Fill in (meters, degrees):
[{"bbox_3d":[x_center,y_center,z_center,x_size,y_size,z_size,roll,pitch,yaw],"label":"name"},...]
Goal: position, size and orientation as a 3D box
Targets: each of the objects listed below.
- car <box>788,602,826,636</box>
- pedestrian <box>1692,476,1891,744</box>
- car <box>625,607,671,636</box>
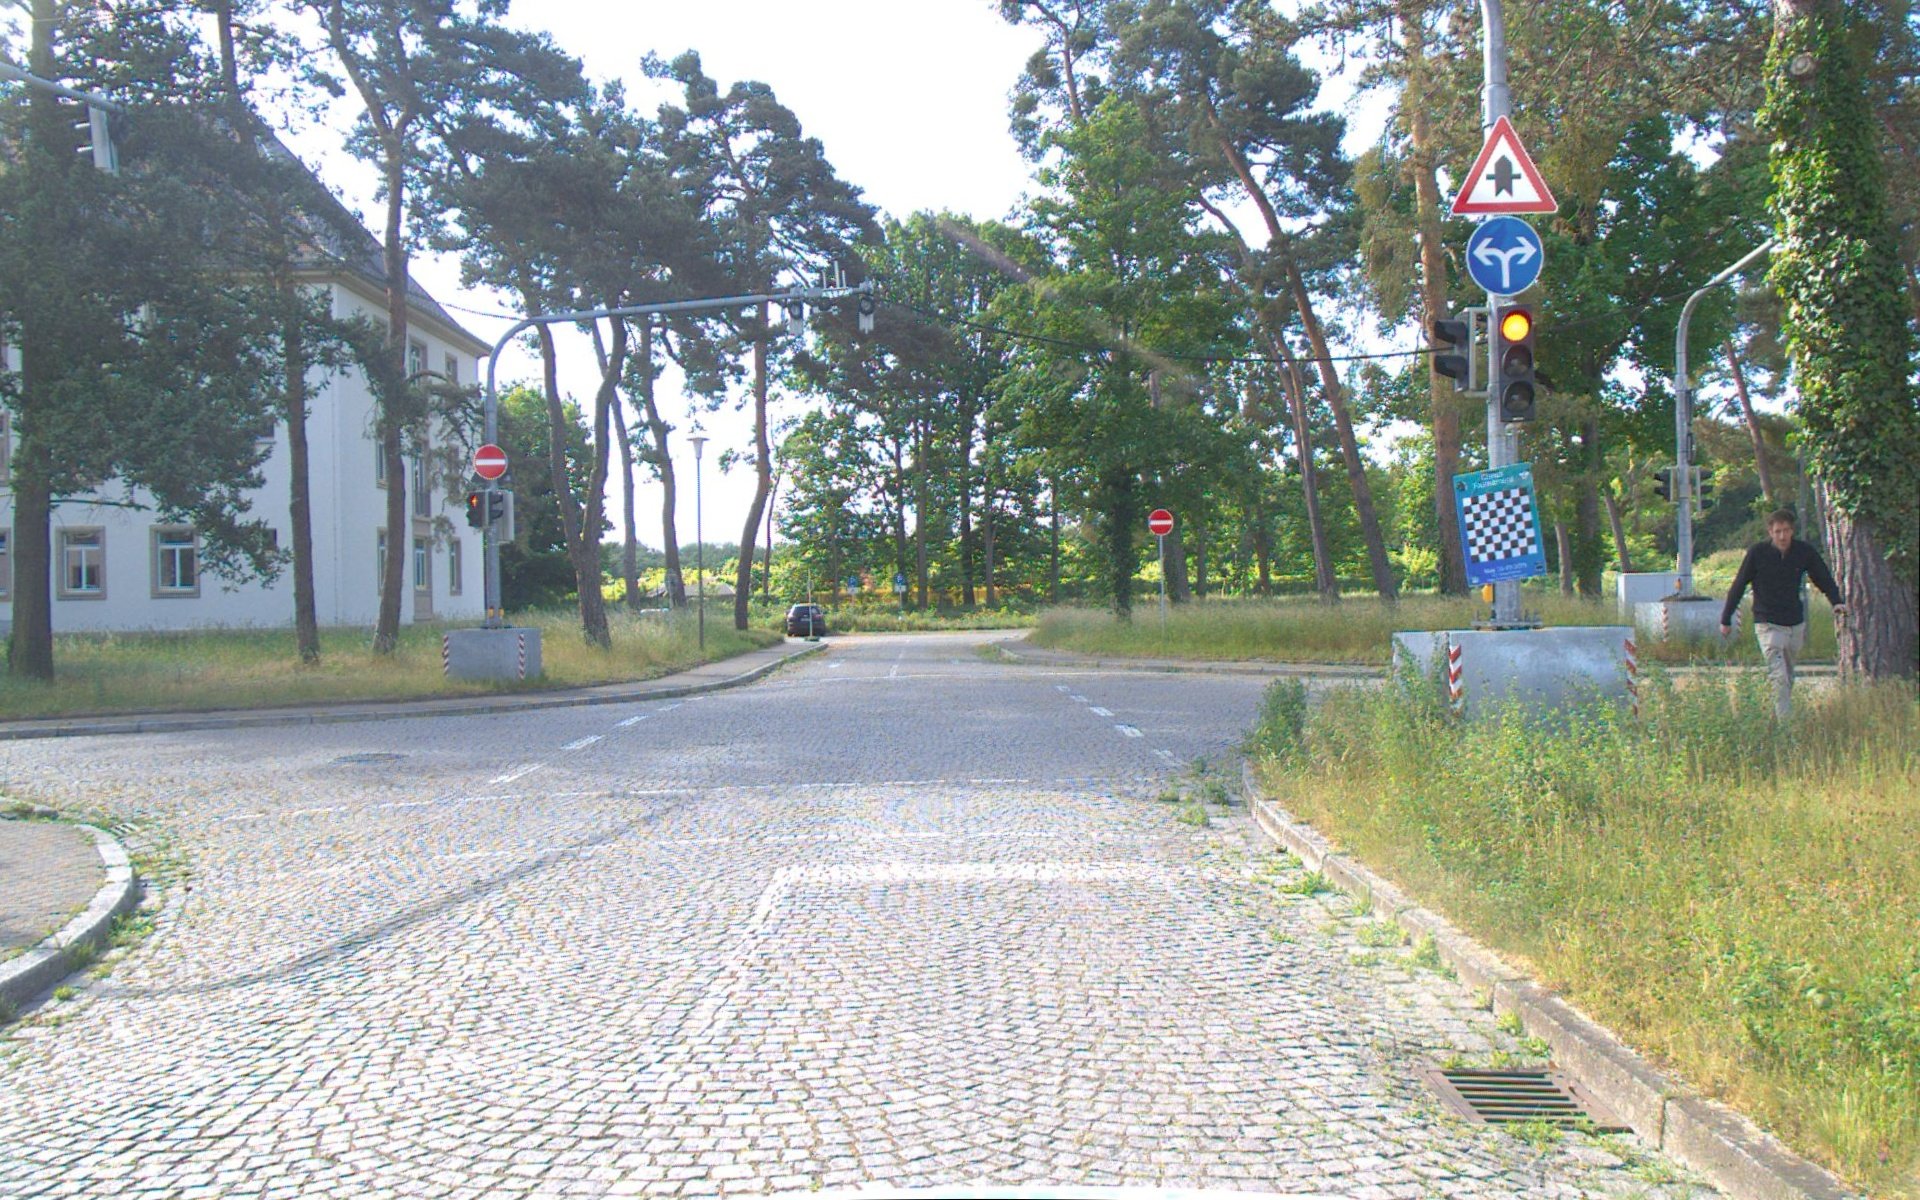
[{"bbox_3d":[-7.423,0.902,80.294,1.676,1.522,3.916,-2,0,-4],"label":"car"},{"bbox_3d":[5.977,0.075,11.973,1.144,1.827,1.063,-2,0,22],"label":"pedestrian"},{"bbox_3d":[-15.213,1.044,80.820,1.676,1.296,3.916,-2,0,-4],"label":"car"}]
